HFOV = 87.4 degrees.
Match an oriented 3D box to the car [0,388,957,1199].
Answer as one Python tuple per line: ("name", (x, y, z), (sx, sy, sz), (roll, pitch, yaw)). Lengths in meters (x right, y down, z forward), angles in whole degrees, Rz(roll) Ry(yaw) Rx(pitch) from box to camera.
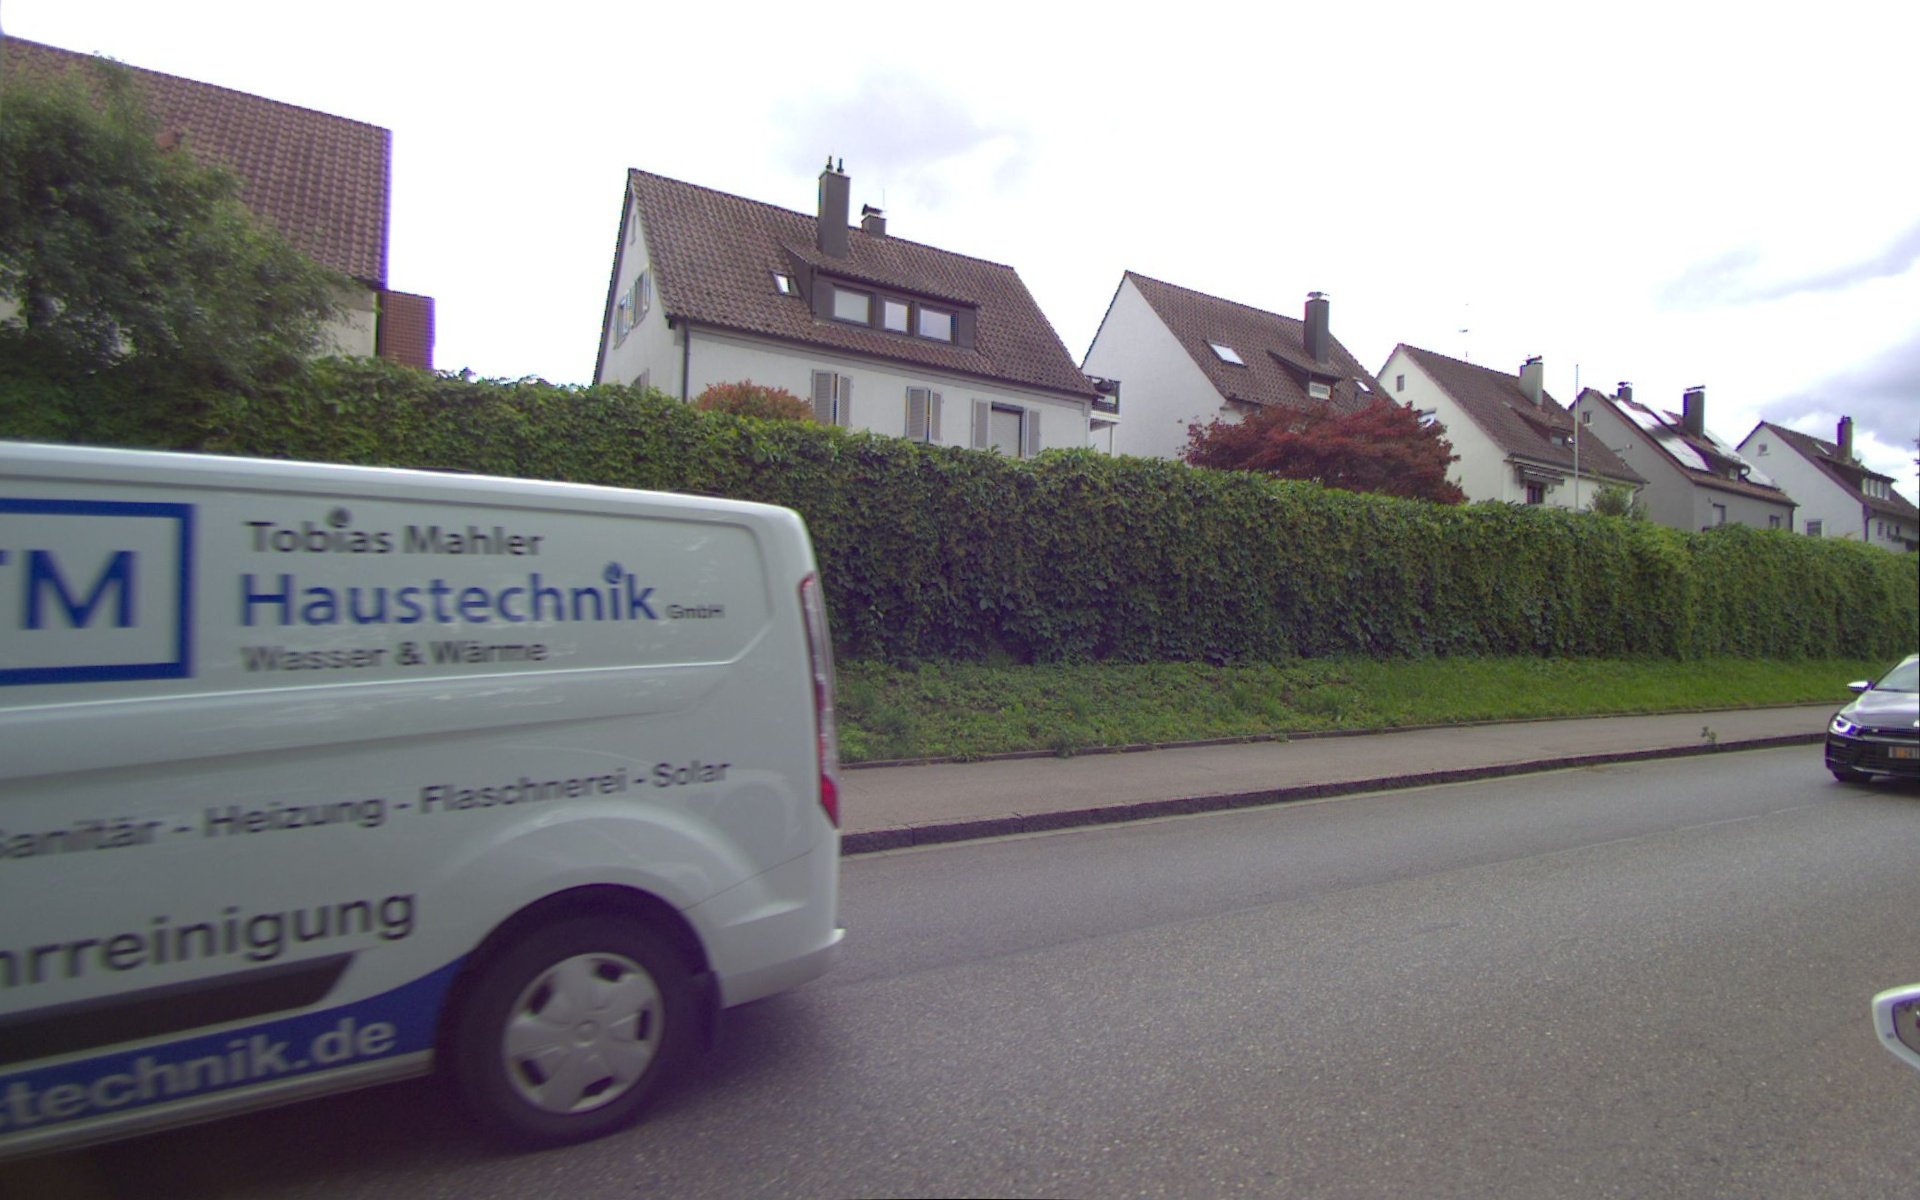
("car", (-2.576, 0.534, 3.070), (4.854, 1.957, 1.897), (2, -3, -31))

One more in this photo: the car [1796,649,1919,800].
("car", (10.617, 1.192, 10.385), (4.425, 1.365, 1.643), (1, -3, -31))
